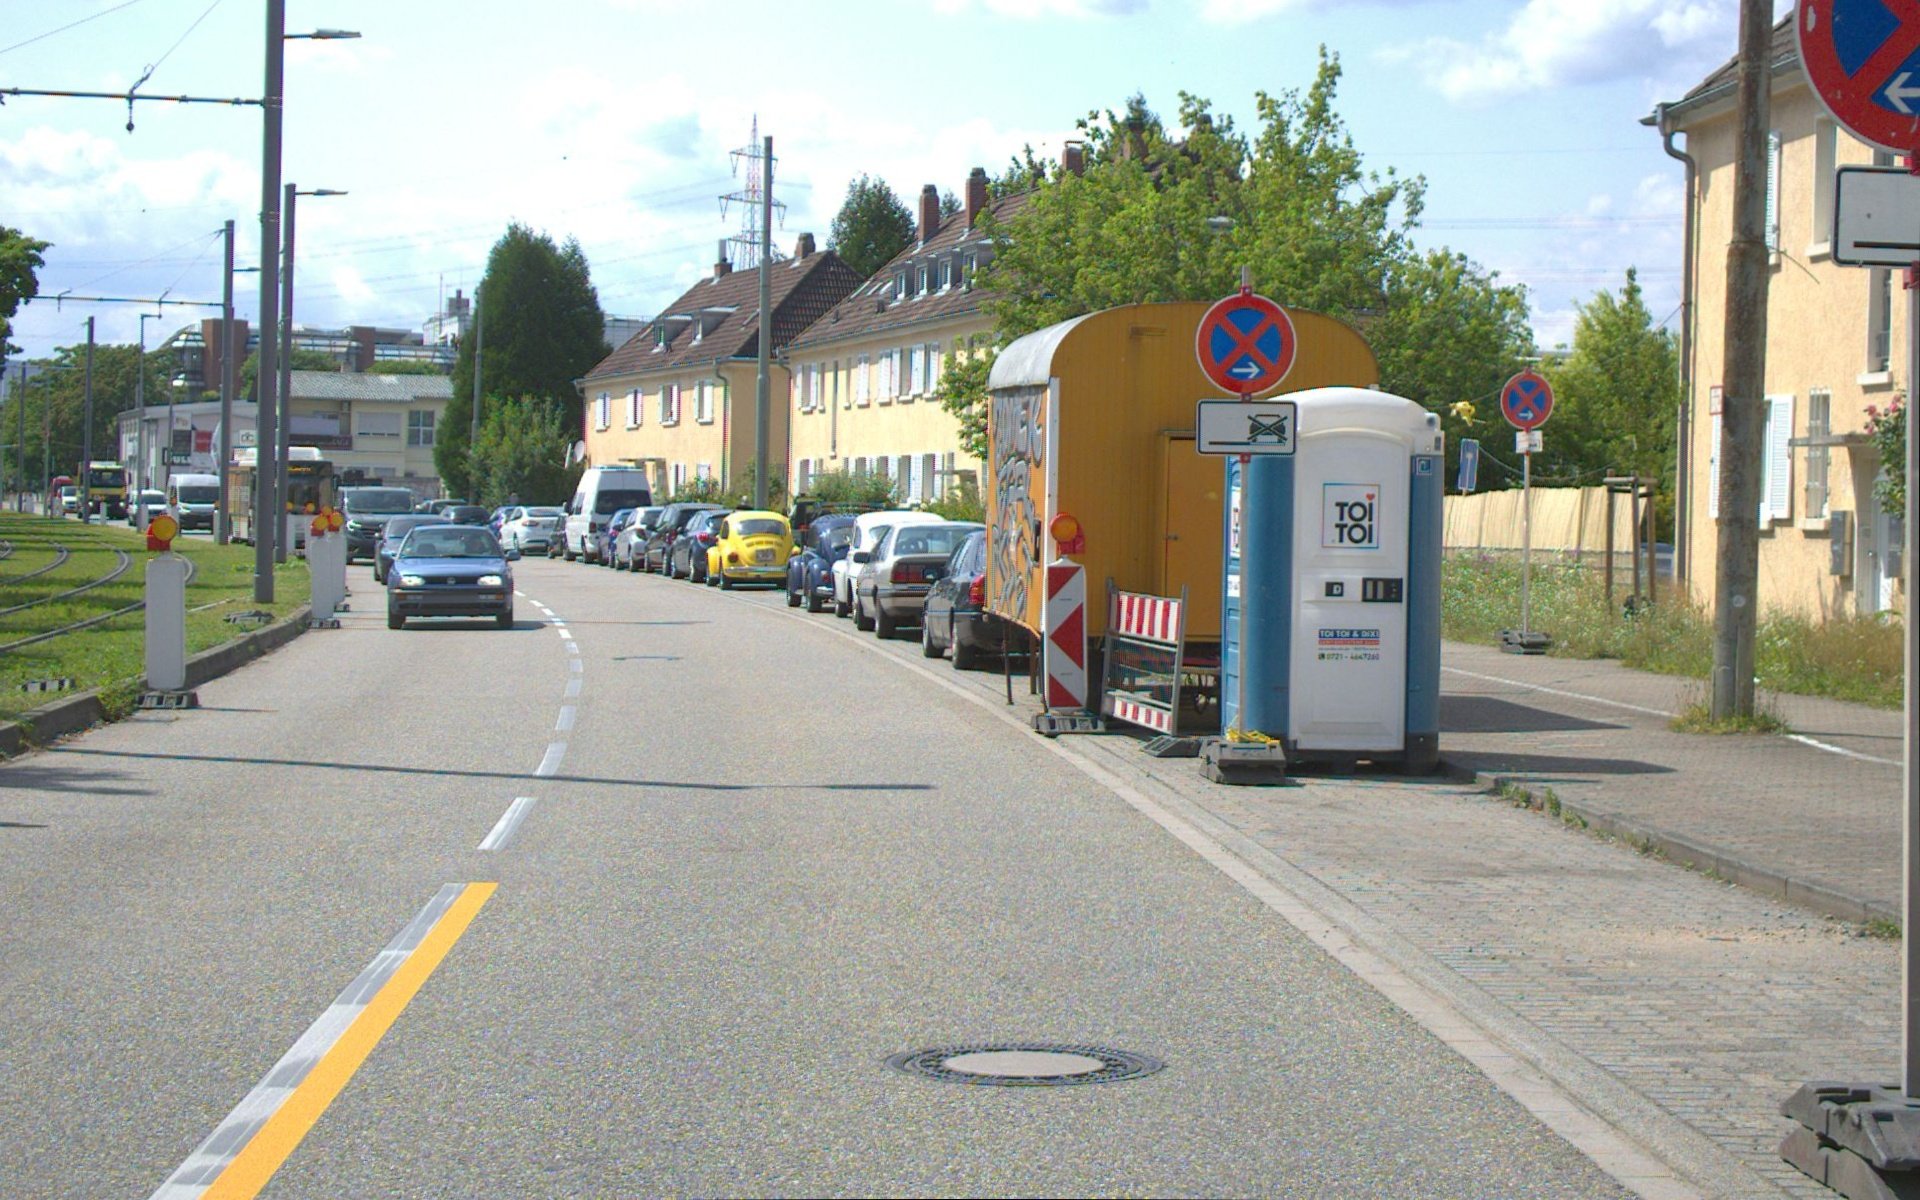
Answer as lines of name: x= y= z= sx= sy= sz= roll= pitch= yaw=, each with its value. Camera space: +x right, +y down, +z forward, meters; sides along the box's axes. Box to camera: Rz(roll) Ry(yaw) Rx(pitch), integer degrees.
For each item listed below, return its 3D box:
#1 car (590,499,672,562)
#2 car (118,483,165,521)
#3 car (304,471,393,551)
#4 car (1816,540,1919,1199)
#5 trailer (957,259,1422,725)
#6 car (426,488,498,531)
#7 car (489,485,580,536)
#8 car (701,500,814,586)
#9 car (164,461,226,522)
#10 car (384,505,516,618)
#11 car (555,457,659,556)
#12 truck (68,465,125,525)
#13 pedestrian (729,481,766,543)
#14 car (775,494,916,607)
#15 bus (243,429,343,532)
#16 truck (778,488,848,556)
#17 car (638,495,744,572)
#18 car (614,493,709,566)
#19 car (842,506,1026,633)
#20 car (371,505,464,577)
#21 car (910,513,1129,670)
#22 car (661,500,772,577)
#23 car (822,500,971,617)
car: x=-8.102 y=-1.722 z=84.462 sx=1.535 sy=1.440 sz=3.738 roll=1 pitch=2 yaw=-13
car: x=-40.144 y=-4.806 z=168.551 sx=1.734 sy=1.767 sz=4.310 roll=1 pitch=2 yaw=-20
car: x=-15.588 y=-2.278 z=87.434 sx=1.955 sy=1.959 sz=5.295 roll=0 pitch=2 yaw=-13
car: x=2.705 y=0.674 z=5.432 sx=1.463 sy=1.497 sz=4.110 roll=0 pitch=1 yaw=-3
trailer: x=1.627 y=-0.825 z=26.810 sx=2.689 sy=3.215 sz=5.083 roll=1 pitch=1 yaw=-6
car: x=-16.807 y=-3.072 z=115.927 sx=1.763 sy=1.412 sz=4.002 roll=-1 pitch=2 yaw=-17
car: x=-12.652 y=-2.644 z=101.985 sx=1.798 sy=1.453 sz=4.767 roll=-1 pitch=1 yaw=-18
car: x=-3.873 y=-1.103 z=65.228 sx=1.636 sy=1.477 sz=3.933 roll=-2 pitch=3 yaw=-11
car: x=-31.910 y=-4.541 z=143.294 sx=2.102 sy=2.435 sz=5.573 roll=1 pitch=1 yaw=-17
car: x=-6.925 y=-0.559 z=46.951 sx=1.665 sy=1.444 sz=3.961 roll=-1 pitch=2 yaw=-7
car: x=-9.241 y=-2.443 z=89.688 sx=1.929 sy=2.472 sz=5.520 roll=0 pitch=2 yaw=-14
truck: x=-50.617 y=-6.179 z=201.446 sx=2.559 sy=3.447 sz=7.152 roll=-1 pitch=2 yaw=-19
pedestrian: x=-5.766 y=-2.387 z=93.230 sx=0.853 sy=1.646 sz=0.637 roll=2 pitch=1 yaw=-12
car: x=-1.808 y=-0.792 z=53.075 sx=1.548 sy=1.635 sz=4.248 roll=1 pitch=2 yaw=-10
bus: x=-23.338 y=-4.161 z=119.876 sx=2.635 sy=3.400 sz=12.253 roll=0 pitch=2 yaw=-15
truck: x=-3.785 y=-2.011 z=88.455 sx=1.346 sy=1.682 sz=2.442 roll=1 pitch=1 yaw=-13
car: x=-5.966 y=-1.495 z=75.897 sx=1.635 sy=1.597 sz=3.933 roll=1 pitch=2 yaw=-15
car: x=-6.937 y=-1.645 z=79.676 sx=1.635 sy=1.597 sz=4.031 roll=1 pitch=2 yaw=-13
car: x=-0.387 y=-0.428 z=42.940 sx=1.706 sy=1.444 sz=4.836 roll=1 pitch=2 yaw=-7
car: x=-11.133 y=-1.223 z=70.387 sx=1.724 sy=1.384 sz=4.123 roll=1 pitch=1 yaw=-11
car: x=0.542 y=-0.133 z=35.111 sx=1.577 sy=1.444 sz=4.454 roll=1 pitch=2 yaw=-7
car: x=-5.025 y=-1.287 z=70.608 sx=1.635 sy=1.477 sz=4.126 roll=1 pitch=2 yaw=-13
car: x=-0.935 y=-0.614 z=48.007 sx=1.577 sy=1.507 sz=4.461 roll=1 pitch=2 yaw=-7
